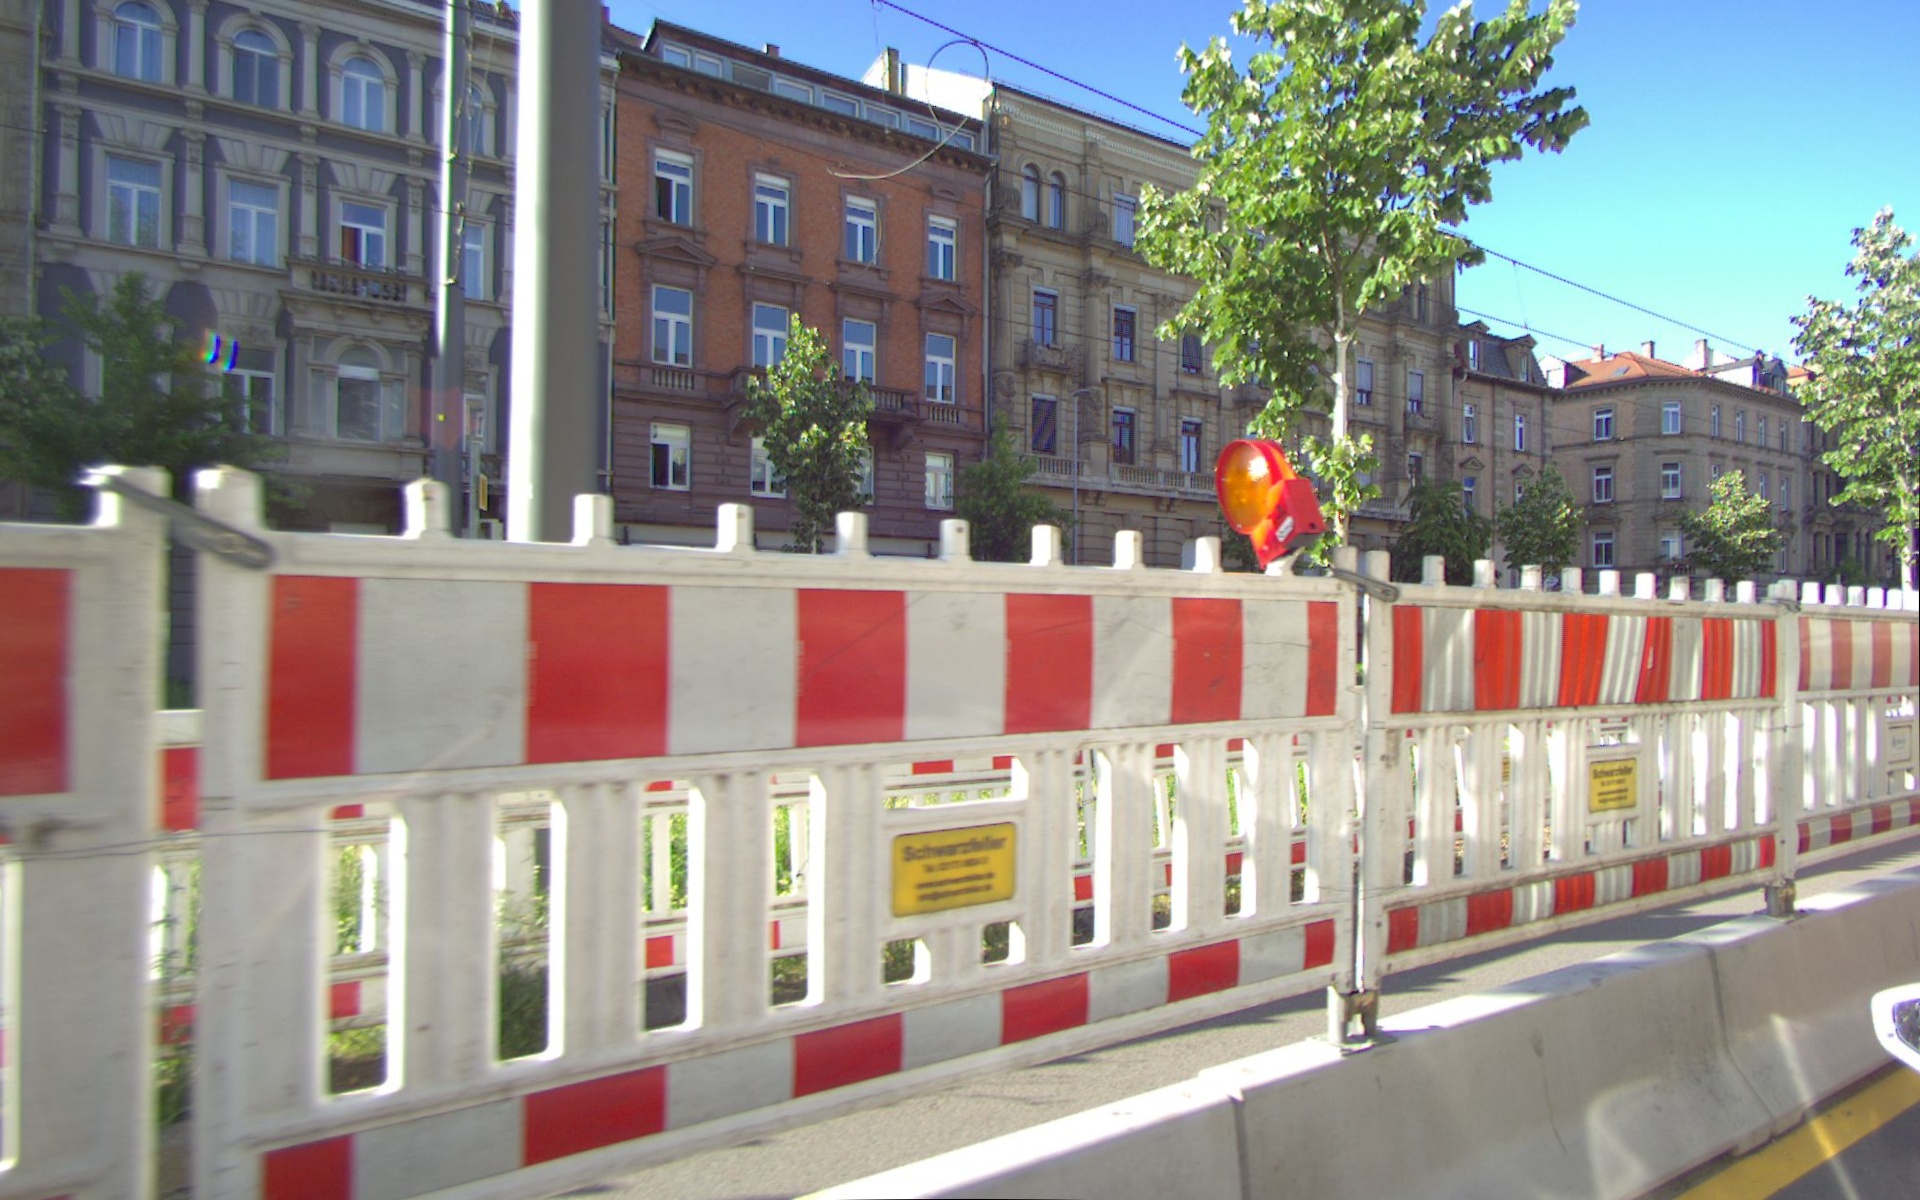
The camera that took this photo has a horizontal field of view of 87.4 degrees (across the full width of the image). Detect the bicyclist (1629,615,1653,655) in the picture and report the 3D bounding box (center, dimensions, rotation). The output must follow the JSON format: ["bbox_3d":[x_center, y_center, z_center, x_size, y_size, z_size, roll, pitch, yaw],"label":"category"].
[{"bbox_3d":[31.325,1.593,46.212,0.870,1.797,0.854,0,-1,34],"label":"bicyclist"}]

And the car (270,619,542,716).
[{"bbox_3d":[-10.815,1.274,19.918,4.488,1.680,1.930,1,0,-29],"label":"car"}]
